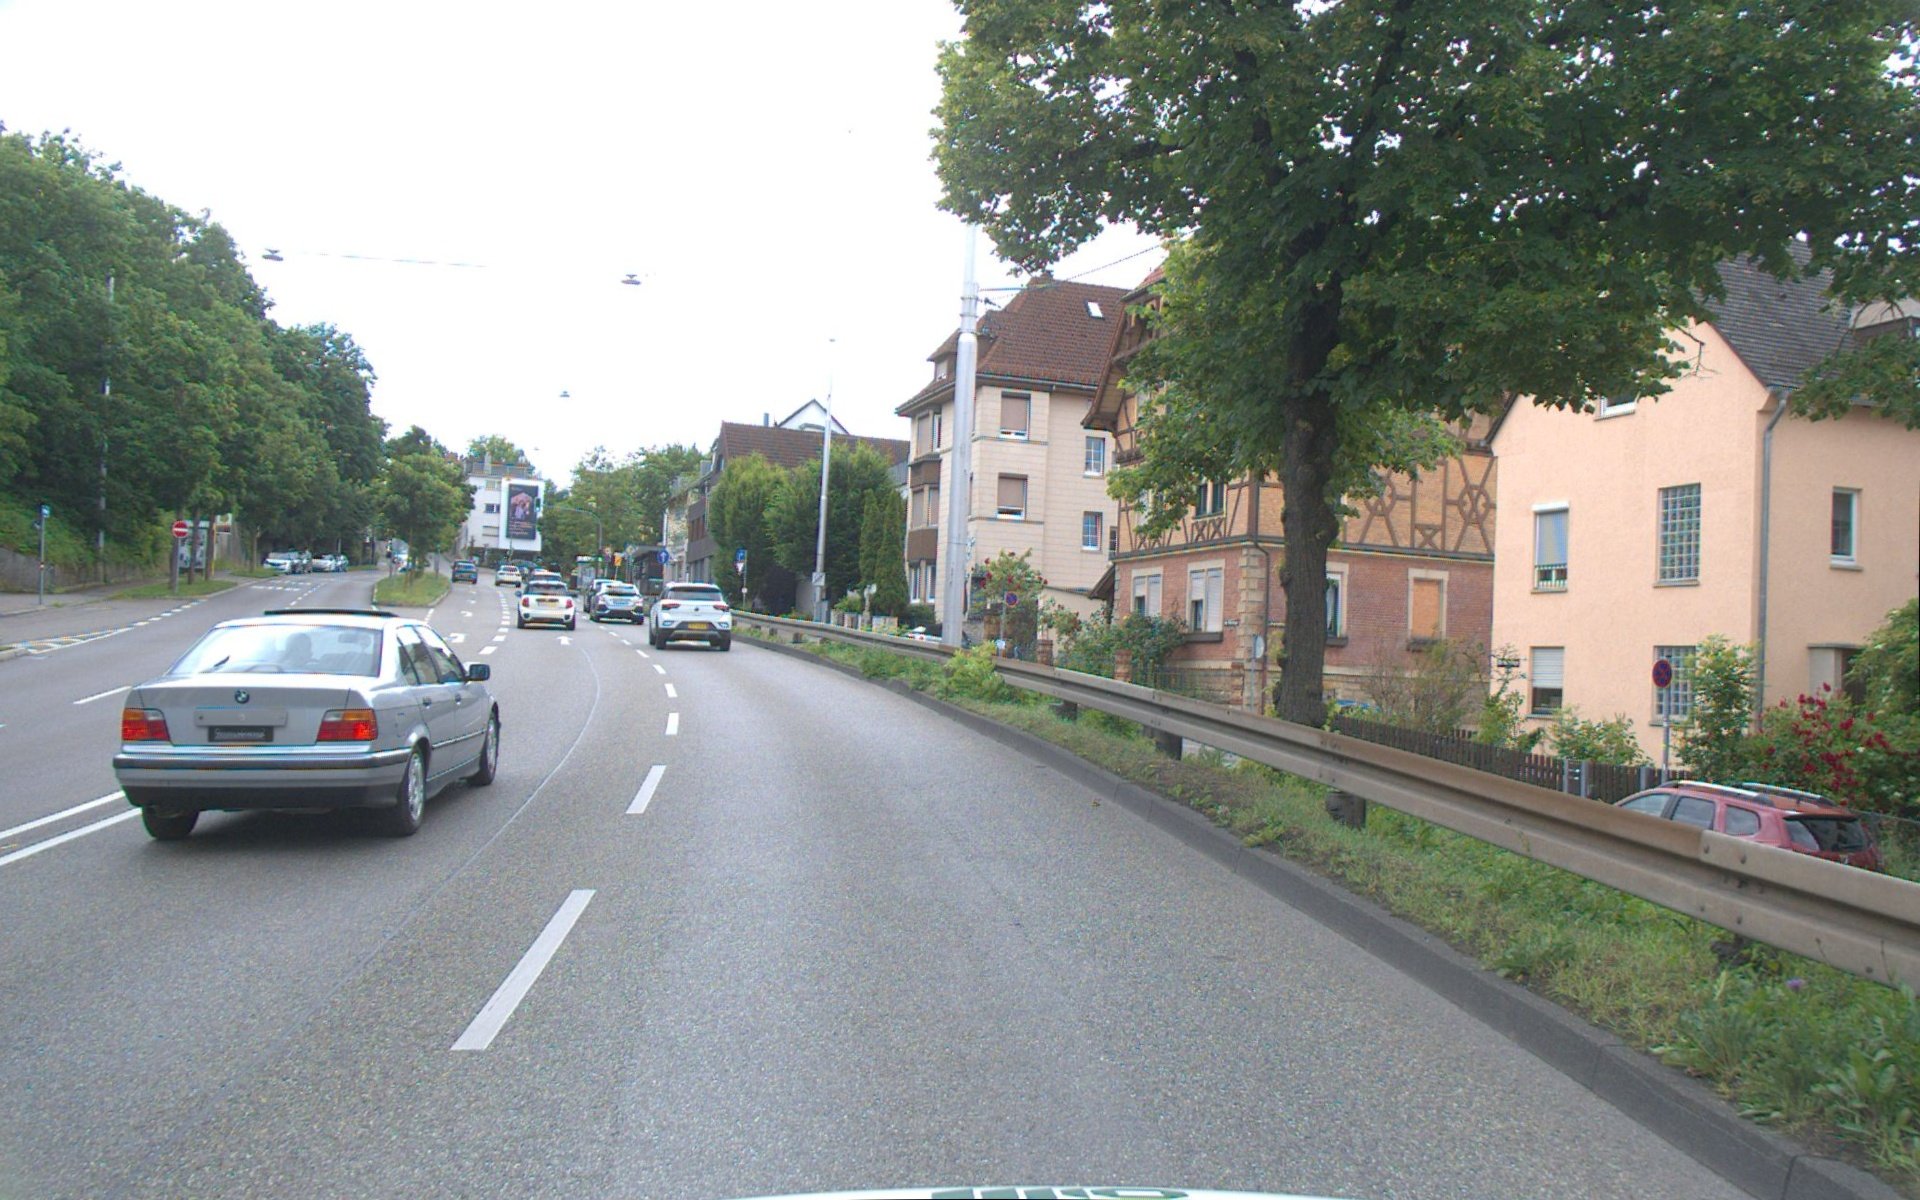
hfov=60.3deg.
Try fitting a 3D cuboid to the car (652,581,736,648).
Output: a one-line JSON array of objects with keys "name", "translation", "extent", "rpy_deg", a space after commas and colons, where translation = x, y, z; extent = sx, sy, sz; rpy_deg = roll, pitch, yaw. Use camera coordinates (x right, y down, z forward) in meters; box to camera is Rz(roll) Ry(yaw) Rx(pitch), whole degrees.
[{"name": "car", "translation": [-6.449, 0.330, 39.911], "extent": [1.766, 1.545, 3.445], "rpy_deg": [0, 0, -13]}]

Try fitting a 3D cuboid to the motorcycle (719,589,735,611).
[{"name": "motorcycle", "translation": [-13.270, 0.004, 94.049], "extent": [0.598, 1.182, 2.032], "rpy_deg": [2, 1, -16]}]

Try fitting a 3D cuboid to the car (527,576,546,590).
[{"name": "car", "translation": [-42.663, -1.737, 166.661], "extent": [1.695, 1.400, 3.440], "rpy_deg": [0, 0, -17]}]

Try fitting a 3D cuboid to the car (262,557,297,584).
[{"name": "car", "translation": [-48.088, -2.115, 116.946], "extent": [1.832, 1.699, 4.258], "rpy_deg": [5, 0, -18]}]

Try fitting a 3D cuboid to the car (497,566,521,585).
[{"name": "car", "translation": [-35.672, -1.929, 130.762], "extent": [1.695, 1.400, 3.440], "rpy_deg": [0, 0, -17]}]

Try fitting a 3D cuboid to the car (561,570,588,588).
[{"name": "car", "translation": [-44.744, -2.453, 191.909], "extent": [1.952, 2.049, 4.002], "rpy_deg": [0, 0, 3]}]

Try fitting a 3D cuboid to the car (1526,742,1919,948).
[{"name": "car", "translation": [8.865, 2.792, 19.641], "extent": [1.756, 1.699, 4.179], "rpy_deg": [4, 0, -20]}]

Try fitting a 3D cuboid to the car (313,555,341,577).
[{"name": "car", "translation": [-52.962, -2.860, 138.481], "extent": [1.832, 1.621, 4.258], "rpy_deg": [5, 0, -18]}]

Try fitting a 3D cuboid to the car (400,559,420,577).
[{"name": "car", "translation": [-58.578, -3.452, 176.089], "extent": [1.831, 1.699, 4.259], "rpy_deg": [5, 0, -18]}]

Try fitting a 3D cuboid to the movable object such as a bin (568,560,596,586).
[{"name": "movable object such as a bin", "translation": [-31.254, -2.228, 136.799], "extent": [1.868, 1.902, 1.517], "rpy_deg": [5, 0, -25]}]

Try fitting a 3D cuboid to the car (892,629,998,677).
[{"name": "car", "translation": [-0.550, 1.985, 62.194], "extent": [3.569, 1.459, 1.686], "rpy_deg": [5, 0, -33]}]

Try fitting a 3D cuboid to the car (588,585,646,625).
[{"name": "car", "translation": [-12.458, 0.168, 59.978], "extent": [1.696, 1.400, 3.439], "rpy_deg": [0, 0, -18]}]

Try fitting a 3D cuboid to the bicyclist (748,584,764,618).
[{"name": "bicyclist", "translation": [-9.495, 0.035, 77.065], "extent": [0.557, 1.551, 0.954], "rpy_deg": [0, 1, -19]}]

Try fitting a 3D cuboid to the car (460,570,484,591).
[{"name": "car", "translation": [-38.678, -1.536, 131.057], "extent": [1.697, 1.610, 3.438], "rpy_deg": [0, 0, -19]}]

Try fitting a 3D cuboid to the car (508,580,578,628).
[{"name": "car", "translation": [-12.700, 0.099, 50.267], "extent": [1.698, 1.400, 3.435], "rpy_deg": [0, 0, -21]}]

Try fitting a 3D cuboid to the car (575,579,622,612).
[{"name": "car", "translation": [-16.141, -0.204, 73.762], "extent": [1.696, 1.400, 3.438], "rpy_deg": [0, 0, -18]}]

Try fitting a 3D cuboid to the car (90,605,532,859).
[{"name": "car", "translation": [-4.266, 0.753, 11.671], "extent": [1.602, 1.407, 4.615], "rpy_deg": [-1, 0, -4]}]

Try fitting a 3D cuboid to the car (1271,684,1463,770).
[{"name": "car", "translation": [9.705, 3.026, 39.511], "extent": [3.927, 1.601, 1.990], "rpy_deg": [5, 0, -19]}]

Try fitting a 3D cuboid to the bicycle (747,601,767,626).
[{"name": "bicycle", "translation": [-9.470, 0.633, 77.150], "extent": [0.557, 1.081, 1.995], "rpy_deg": [0, 2, -18]}]

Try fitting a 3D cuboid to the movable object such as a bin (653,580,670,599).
[{"name": "movable object such as a bin", "translation": [-24.480, -0.892, 135.730], "extent": [1.177, 1.432, 0.708], "rpy_deg": [5, 0, -17]}]
